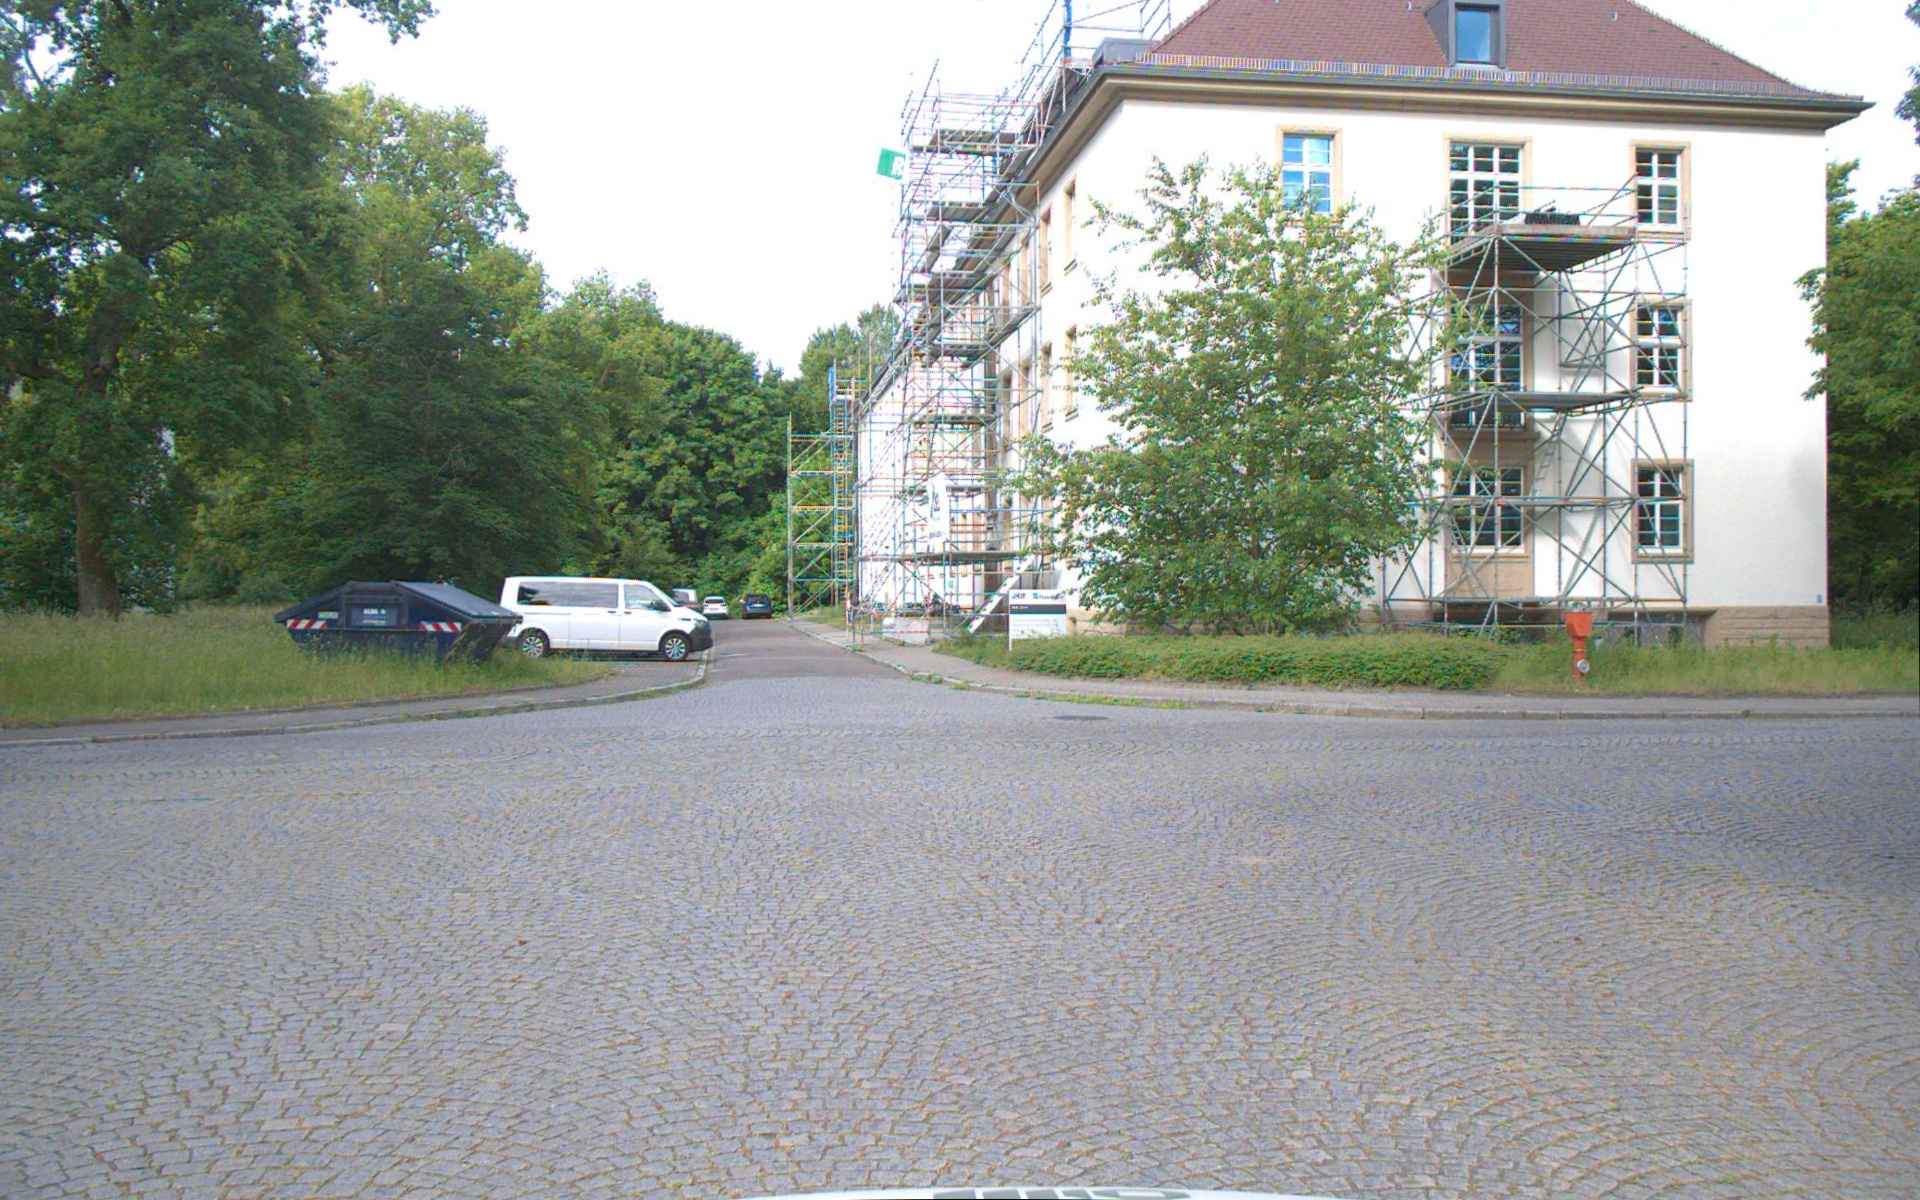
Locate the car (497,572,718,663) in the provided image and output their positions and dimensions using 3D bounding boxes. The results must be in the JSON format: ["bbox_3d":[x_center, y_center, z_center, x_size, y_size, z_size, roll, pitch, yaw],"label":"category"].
[{"bbox_3d":[-8.515,0.448,40.395,5.105,2.096,2.183,1,-1,-10],"label":"car"}]

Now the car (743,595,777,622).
[{"bbox_3d":[-12.888,0.545,106.574,2.023,1.621,3.995,2,-1,-6],"label":"car"}]

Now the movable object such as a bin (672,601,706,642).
[{"bbox_3d":[-9.813,0.774,59.930,1.161,1.432,0.973,2,-1,-8],"label":"movable object such as a bin"}]

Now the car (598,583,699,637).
[{"bbox_3d":[-12.717,0.415,67.460,3.918,2.049,1.915,2,-1,-13],"label":"car"}]

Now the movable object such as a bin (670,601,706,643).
[{"bbox_3d":[-9.670,0.769,58.813,1.161,1.432,0.973,2,-1,-8],"label":"movable object such as a bin"}]

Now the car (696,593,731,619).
[{"bbox_3d":[-15.812,0.392,105.887,1.966,1.575,3.947,2,-1,-11],"label":"car"}]
